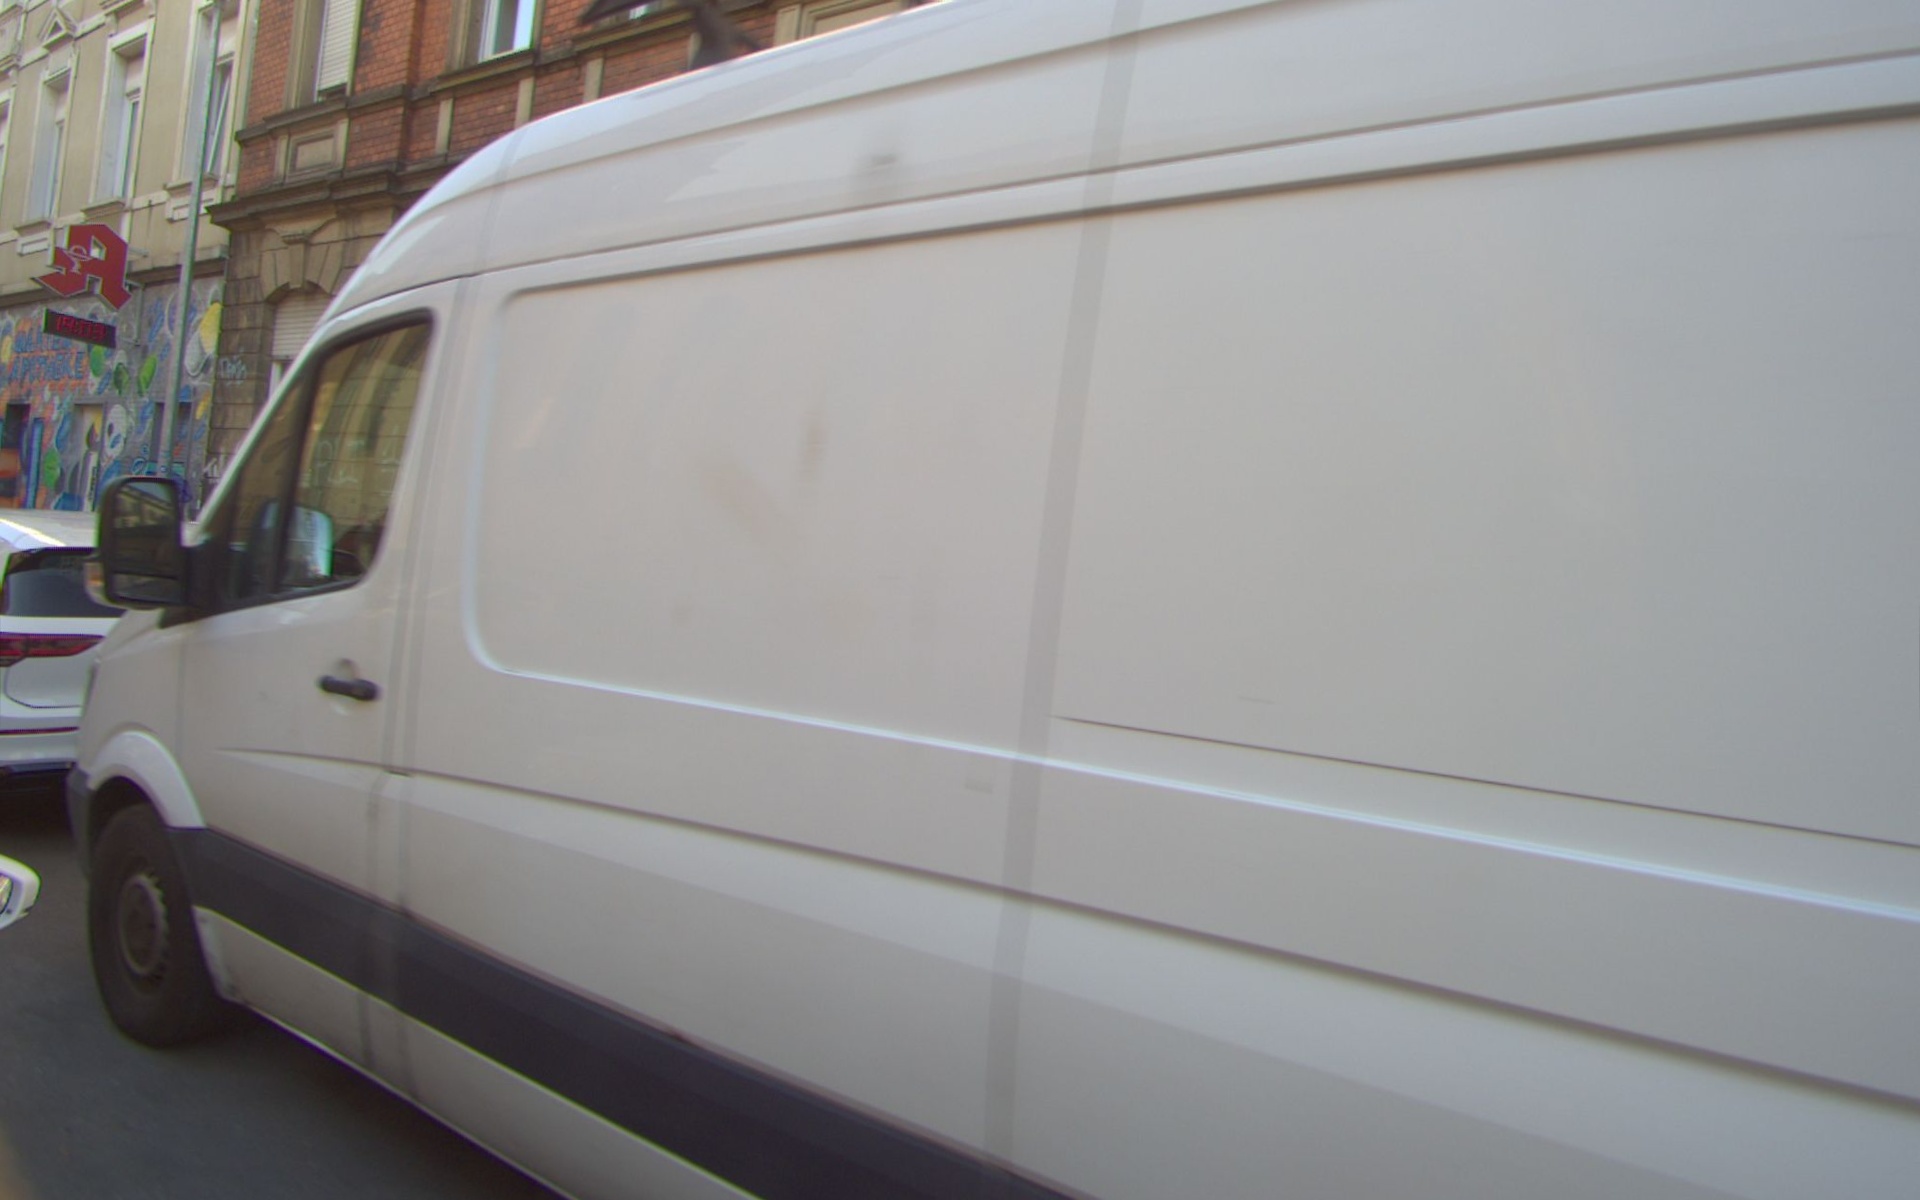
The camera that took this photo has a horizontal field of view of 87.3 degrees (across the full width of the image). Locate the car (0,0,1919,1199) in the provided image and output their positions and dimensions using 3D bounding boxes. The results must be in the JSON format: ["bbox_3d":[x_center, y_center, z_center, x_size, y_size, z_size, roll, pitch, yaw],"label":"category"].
[{"bbox_3d":[-0.169,0.123,2.542,5.790,2.641,2.072,7,-1,32],"label":"car"}]

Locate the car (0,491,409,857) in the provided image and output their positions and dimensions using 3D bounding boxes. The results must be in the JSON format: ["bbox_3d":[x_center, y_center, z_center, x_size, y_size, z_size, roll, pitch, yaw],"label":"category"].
[{"bbox_3d":[-5.386,0.196,5.886,4.288,1.503,1.784,6,-3,32],"label":"car"}]

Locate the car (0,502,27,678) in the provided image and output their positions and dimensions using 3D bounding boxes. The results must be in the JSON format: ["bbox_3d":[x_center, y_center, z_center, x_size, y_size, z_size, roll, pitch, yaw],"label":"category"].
[{"bbox_3d":[-9.538,-0.268,8.401,3.593,1.512,1.573,6,-3,33],"label":"car"}]
